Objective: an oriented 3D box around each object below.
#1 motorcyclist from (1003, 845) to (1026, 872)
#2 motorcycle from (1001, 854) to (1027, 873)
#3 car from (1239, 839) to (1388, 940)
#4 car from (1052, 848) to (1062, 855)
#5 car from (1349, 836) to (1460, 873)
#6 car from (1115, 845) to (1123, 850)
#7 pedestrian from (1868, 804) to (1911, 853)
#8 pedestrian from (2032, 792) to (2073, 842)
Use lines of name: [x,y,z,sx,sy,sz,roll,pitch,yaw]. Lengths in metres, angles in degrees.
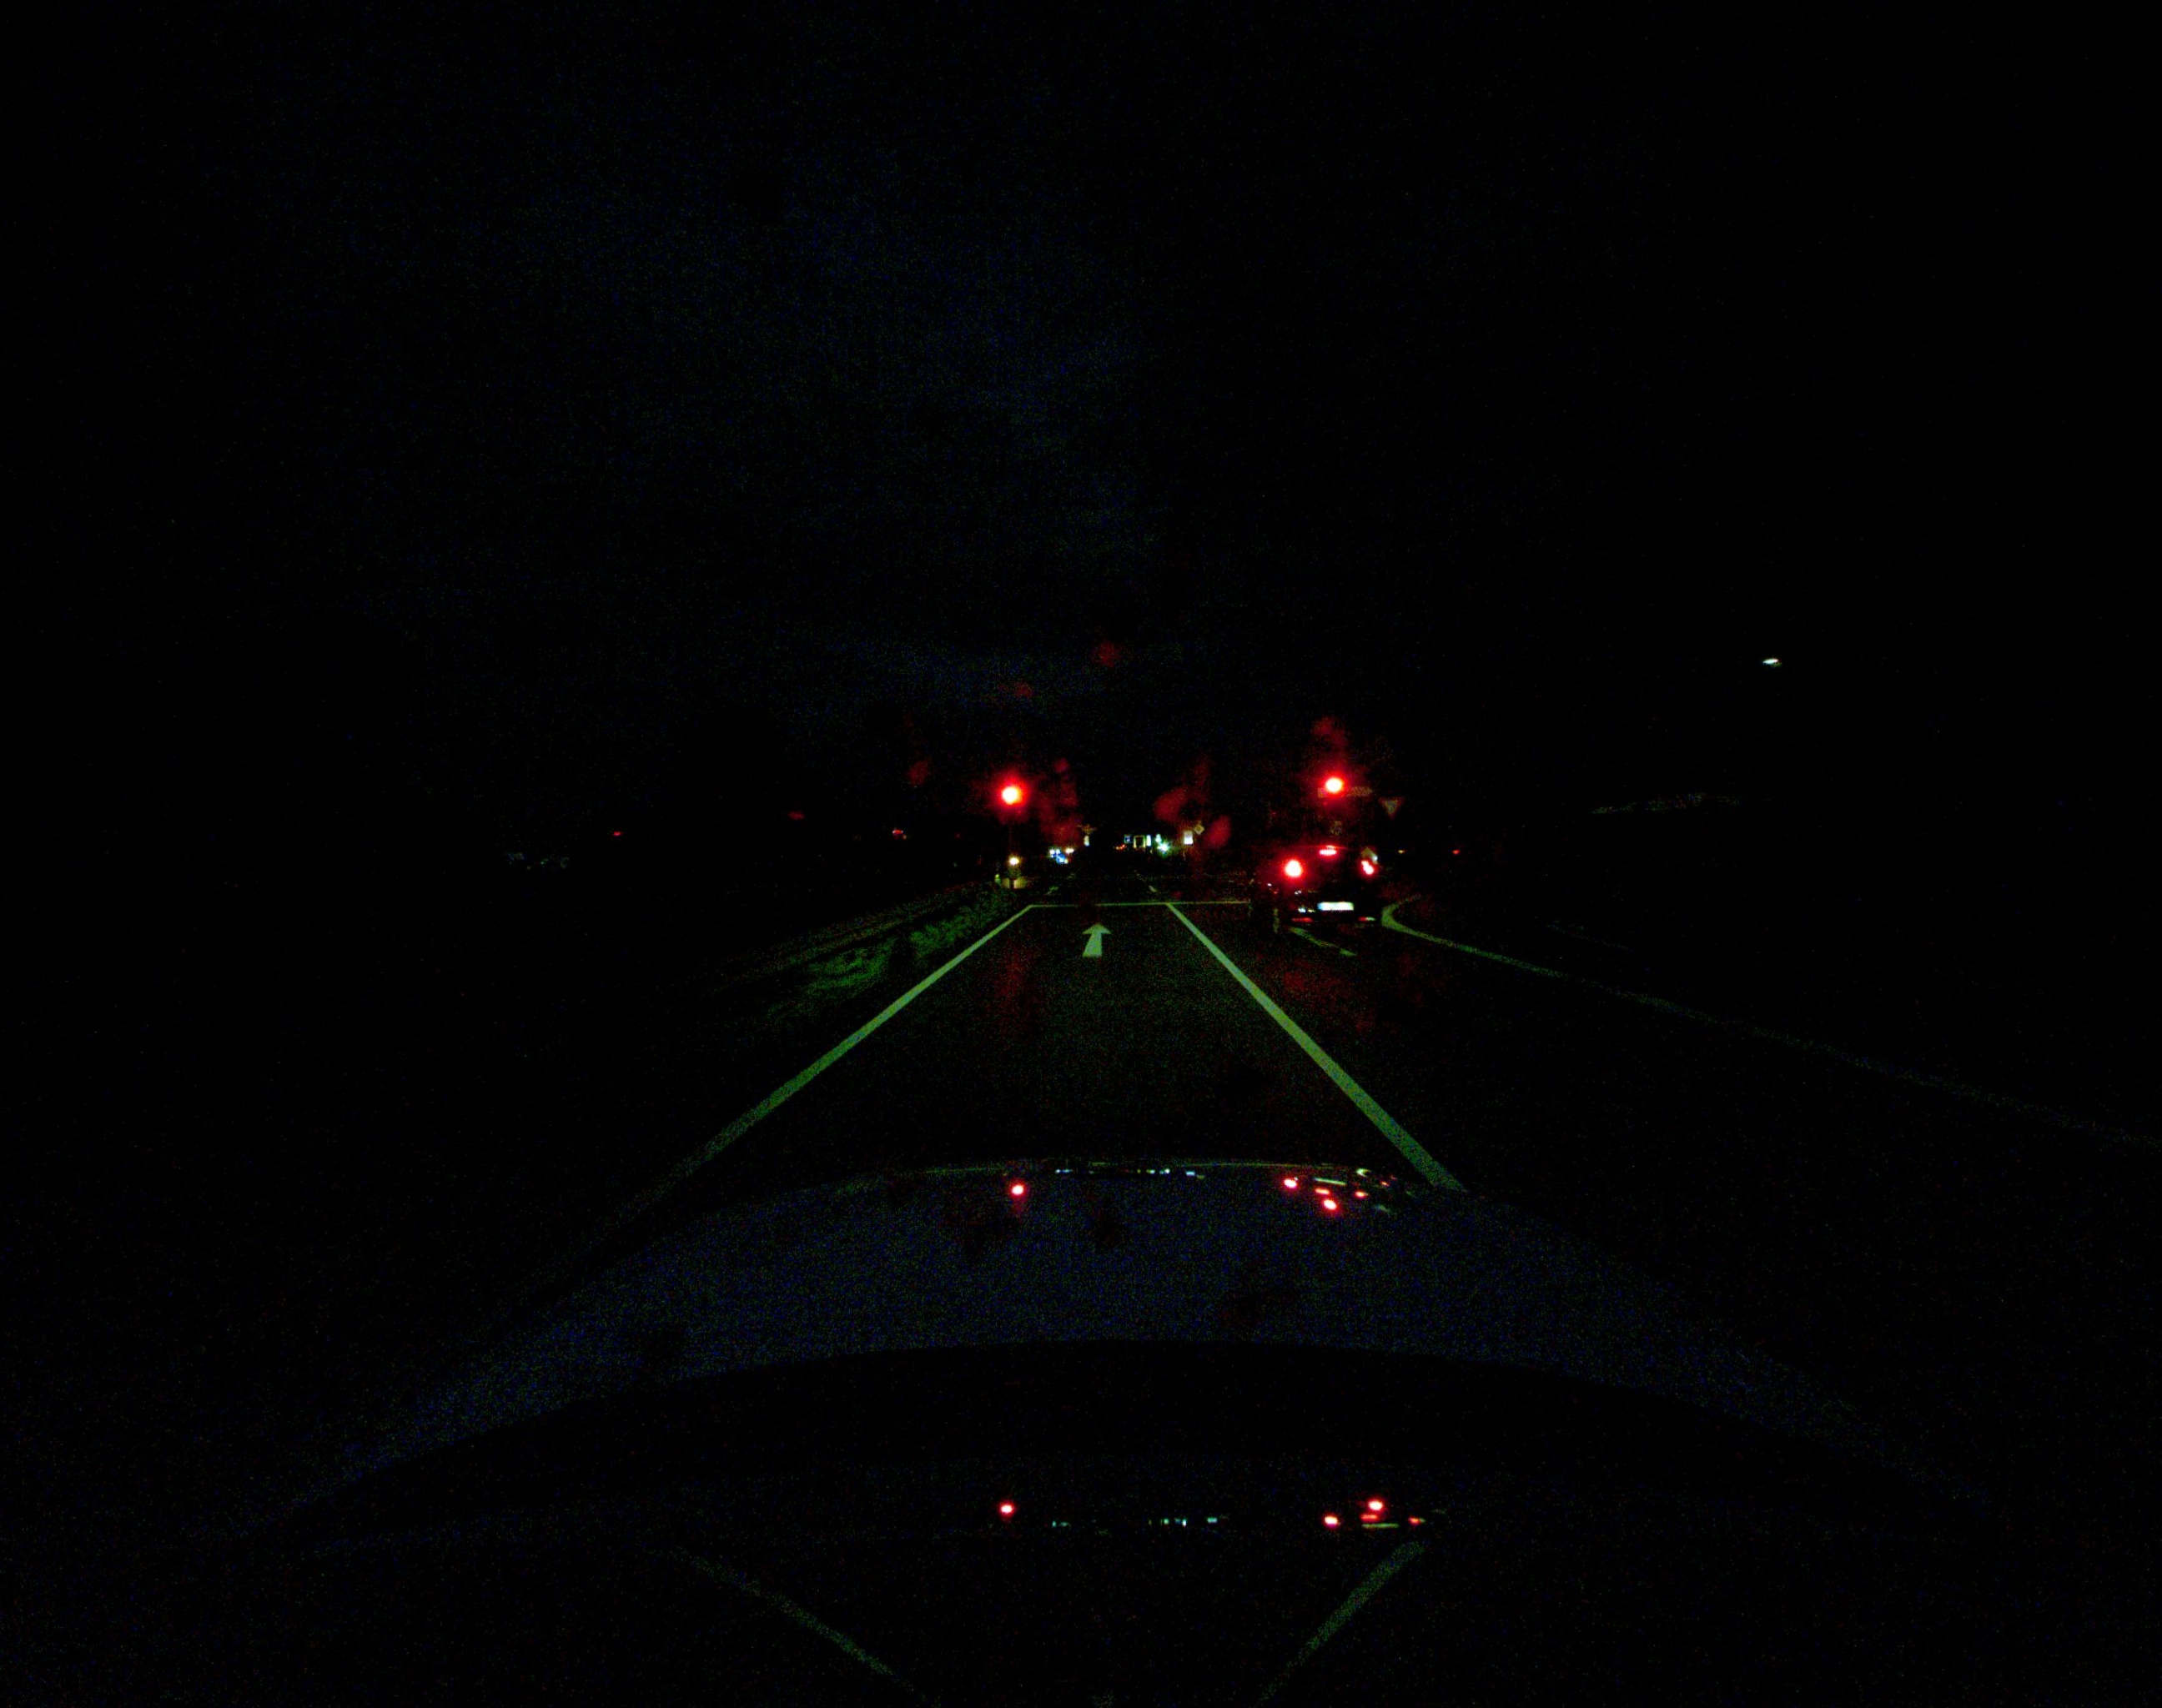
motorcyclist: [-4.080,0.269,49.923,1.141,1.584,0.966,-3,1,-19]
motorcycle: [-4.128,0.573,50.099,0.982,1.098,2.492,-3,1,-20]
car: [3.938,0.524,14.487,1.663,1.520,4.109,-1,0,3]
car: [-5.717,-0.683,192.465,1.986,1.519,4.299,-2,1,1]
car: [15.656,0.007,39.613,4.583,1.520,2.001,-3,0,2]
car: [11.798,-2.076,255.468,2.266,1.632,4.001,-2,0,1]
pedestrian: [31.773,-1.011,32.018,0.732,1.835,0.870,-3,-2,-25]
pedestrian: [38.406,-1.444,32.196,0.661,1.899,0.870,-3,0,-25]
